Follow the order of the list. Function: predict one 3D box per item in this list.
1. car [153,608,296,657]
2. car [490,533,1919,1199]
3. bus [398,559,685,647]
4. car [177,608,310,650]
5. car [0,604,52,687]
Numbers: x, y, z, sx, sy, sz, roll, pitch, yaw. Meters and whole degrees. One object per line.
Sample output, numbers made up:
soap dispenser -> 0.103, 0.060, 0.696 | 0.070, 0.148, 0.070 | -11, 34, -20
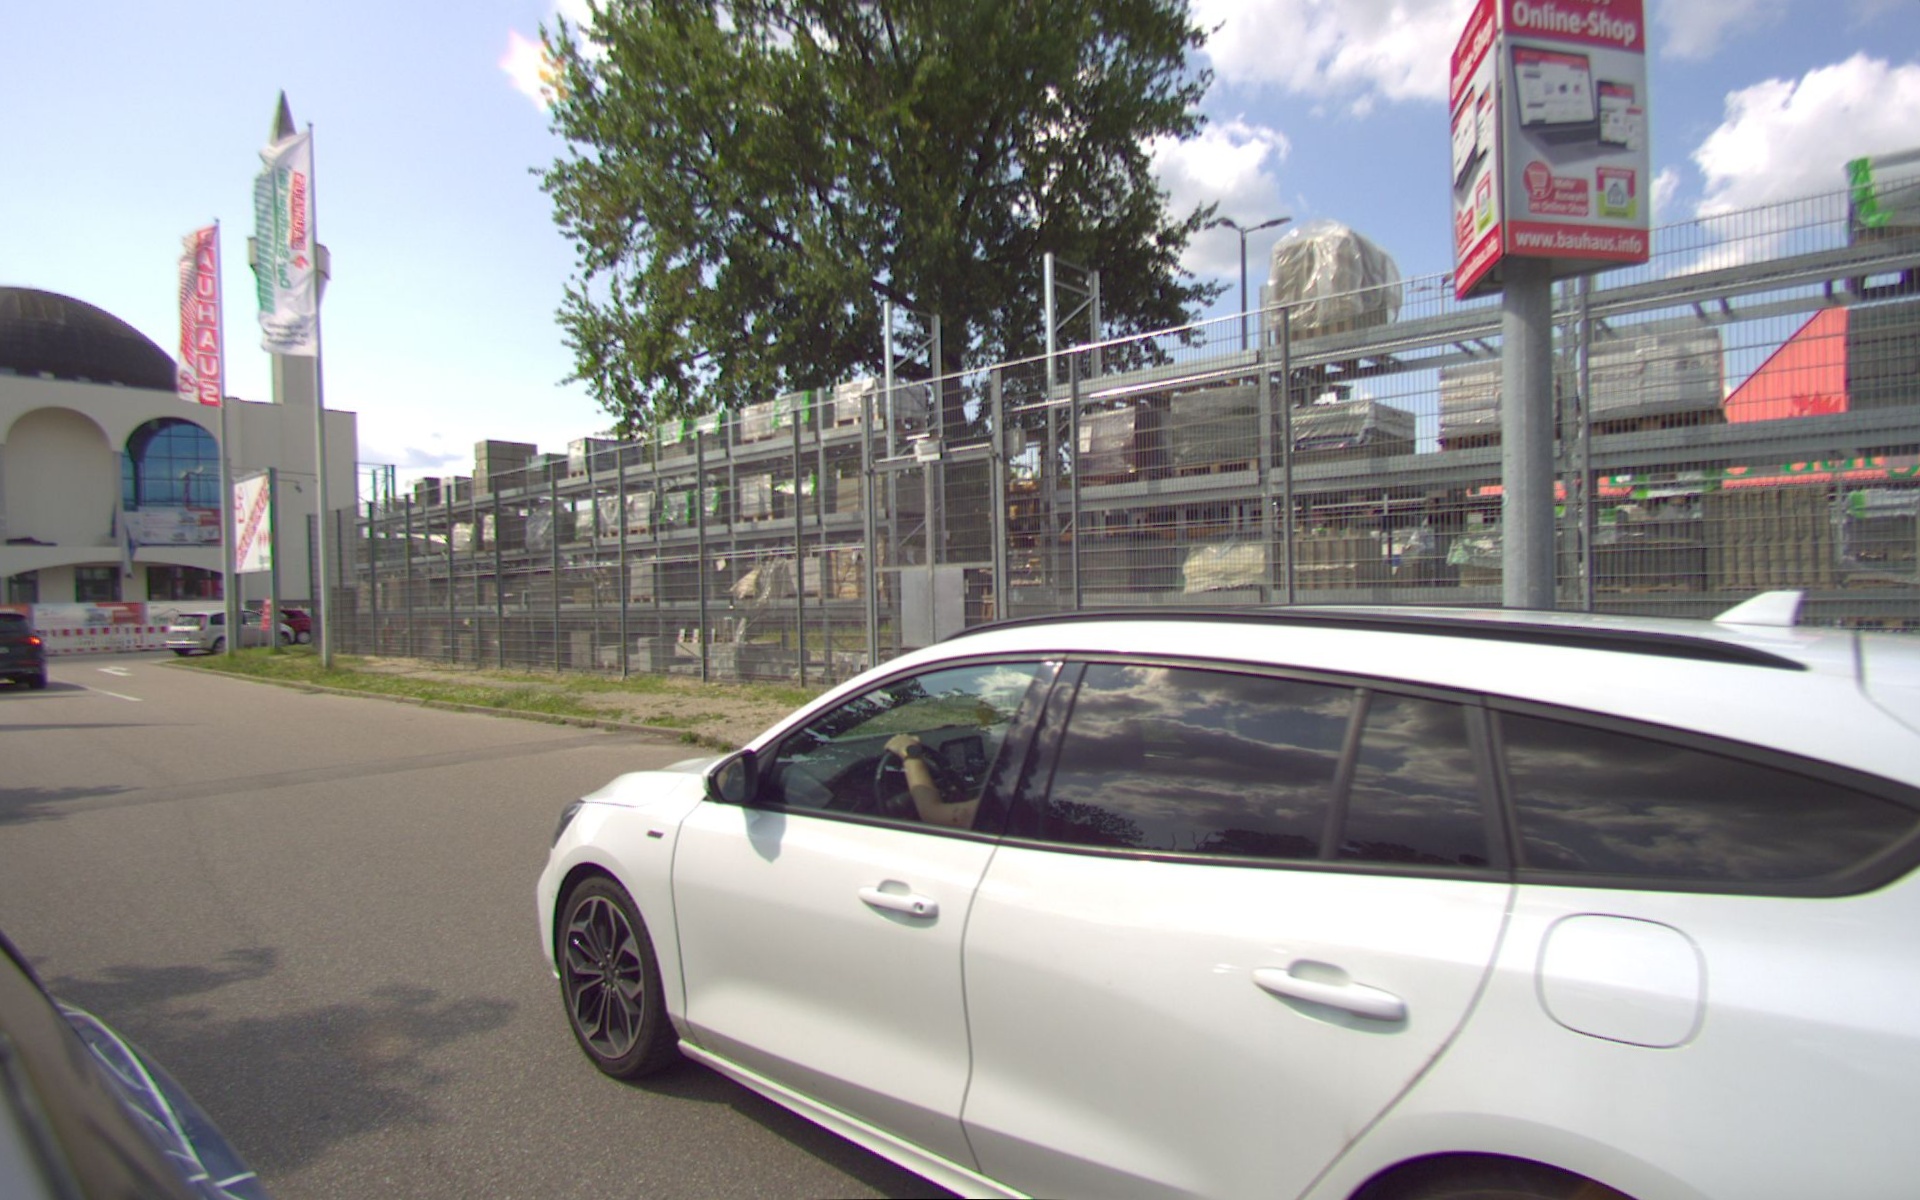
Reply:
car -> -26.571, 1.125, 36.735 | 1.704, 1.576, 4.196 | -1, 0, 10
car -> 0.597, 0.671, 2.710 | 4.327, 1.475, 1.785 | -1, 0, 42
bus -> -17.800, 0.044, 44.175 | 2.893, 3.389, 11.408 | -1, 0, 42
car -> -29.024, 1.152, 41.080 | 1.791, 1.521, 4.135 | -1, 0, 42
car -> -20.669, 0.955, 21.199 | 4.370, 1.630, 1.895 | -2, -1, 40
